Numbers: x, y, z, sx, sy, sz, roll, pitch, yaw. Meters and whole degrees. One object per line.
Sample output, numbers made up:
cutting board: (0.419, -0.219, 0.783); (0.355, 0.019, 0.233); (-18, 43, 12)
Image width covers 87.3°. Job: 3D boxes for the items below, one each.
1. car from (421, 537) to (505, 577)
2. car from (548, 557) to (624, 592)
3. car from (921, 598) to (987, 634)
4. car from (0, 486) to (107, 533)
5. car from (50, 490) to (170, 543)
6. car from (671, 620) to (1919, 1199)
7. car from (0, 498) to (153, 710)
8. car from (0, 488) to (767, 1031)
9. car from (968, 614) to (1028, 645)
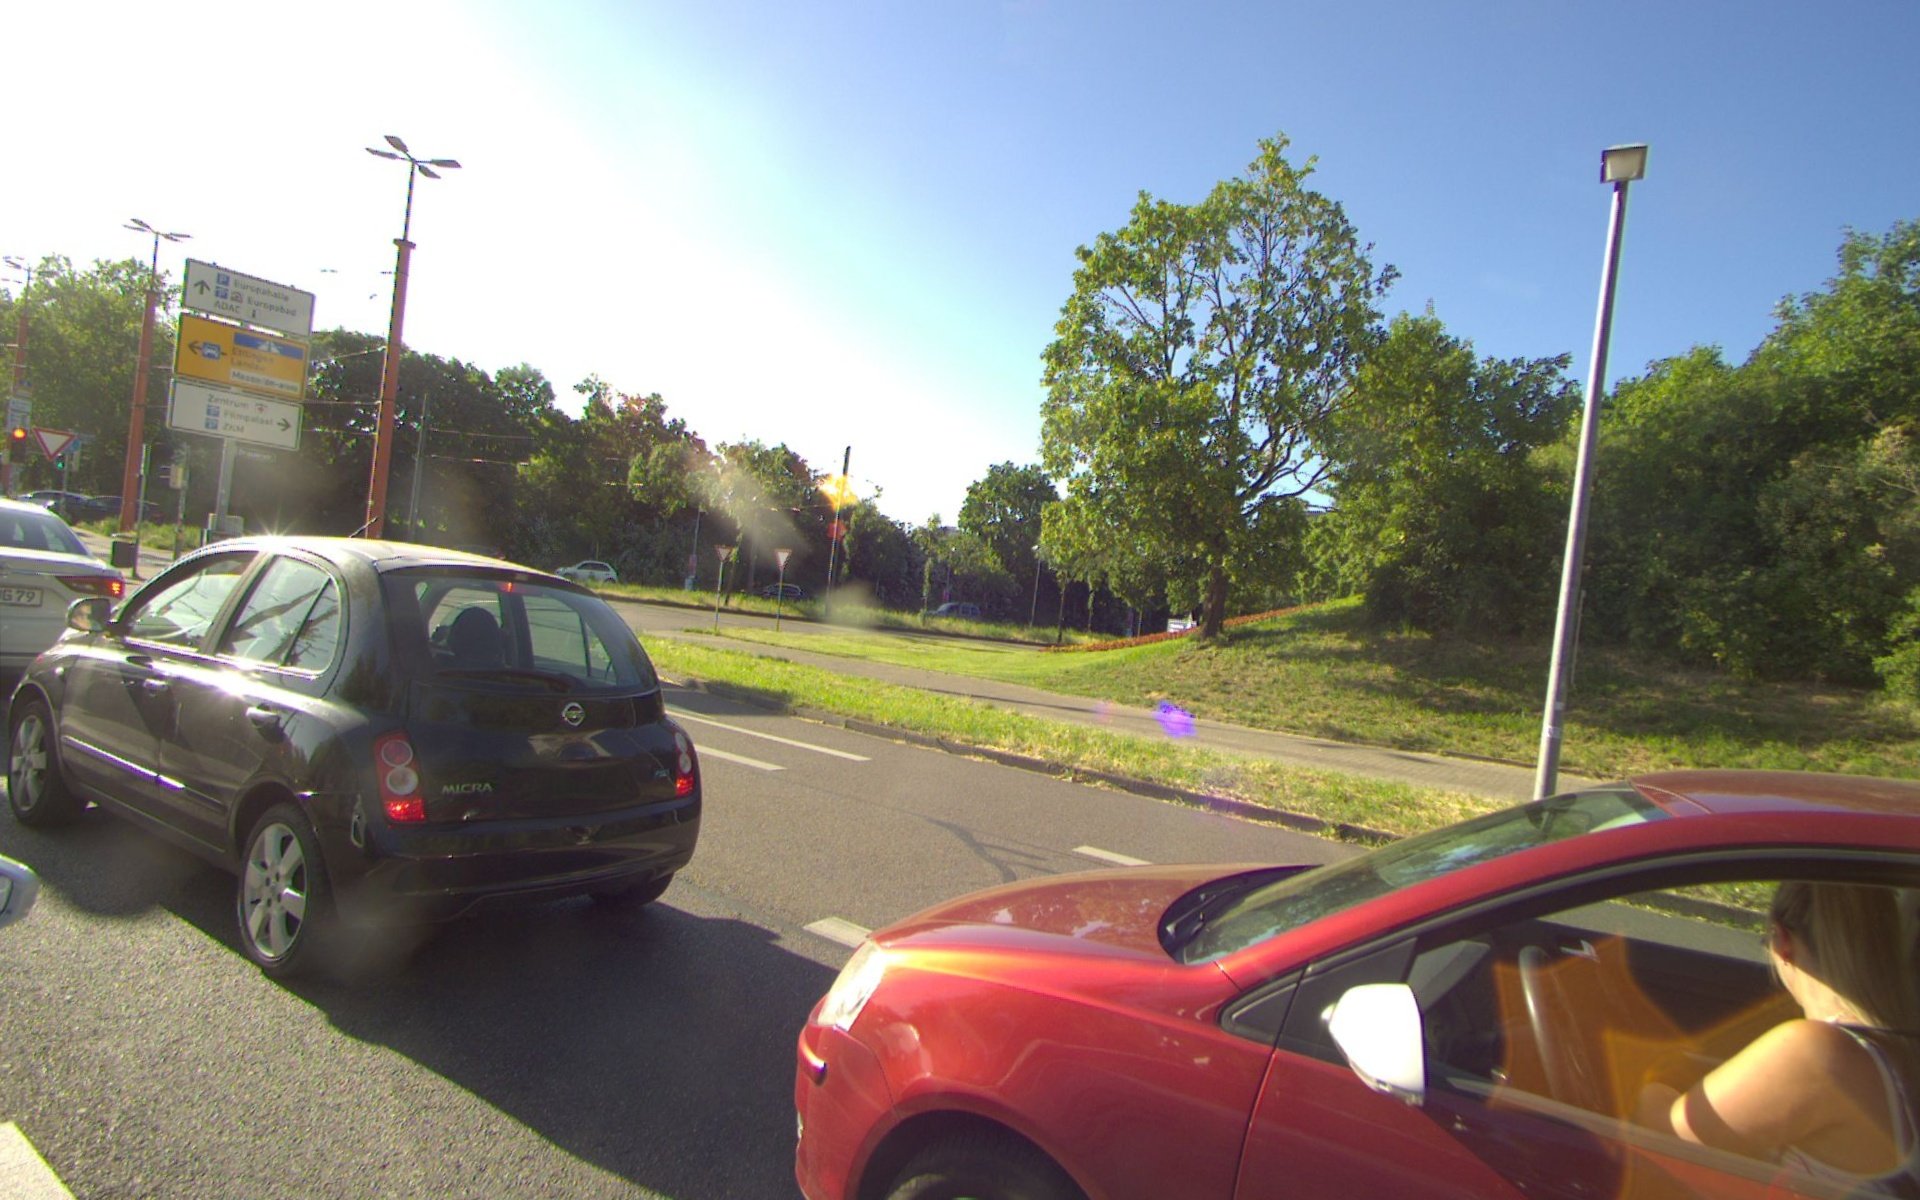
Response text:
car: (-29.502, -2.535, 59.754); (4.257, 1.725, 1.833); (8, -1, -29)
car: (-22.373, -1.508, 60.202); (3.970, 1.546, 1.694); (8, -1, -30)
car: (-0.460, 1.147, 73.348); (4.217, 2.038, 1.984); (8, -1, -30)
car: (-45.347, -4.483, 50.023); (4.205, 1.701, 1.687); (8, -1, -35)
car: (-41.345, -4.034, 49.064); (4.169, 1.906, 1.750); (8, -1, -35)
car: (1.409, 1.011, 1.870); (3.700, 1.455, 1.644); (6, -2, 33)
car: (-8.364, -0.173, 8.025); (4.130, 1.454, 1.723); (7, -1, 33)
car: (-2.870, 0.459, 4.706); (3.555, 1.518, 1.657); (7, -2, 32)
car: (2.996, 2.373, 79.667); (4.217, 1.873, 1.984); (8, -1, -30)
